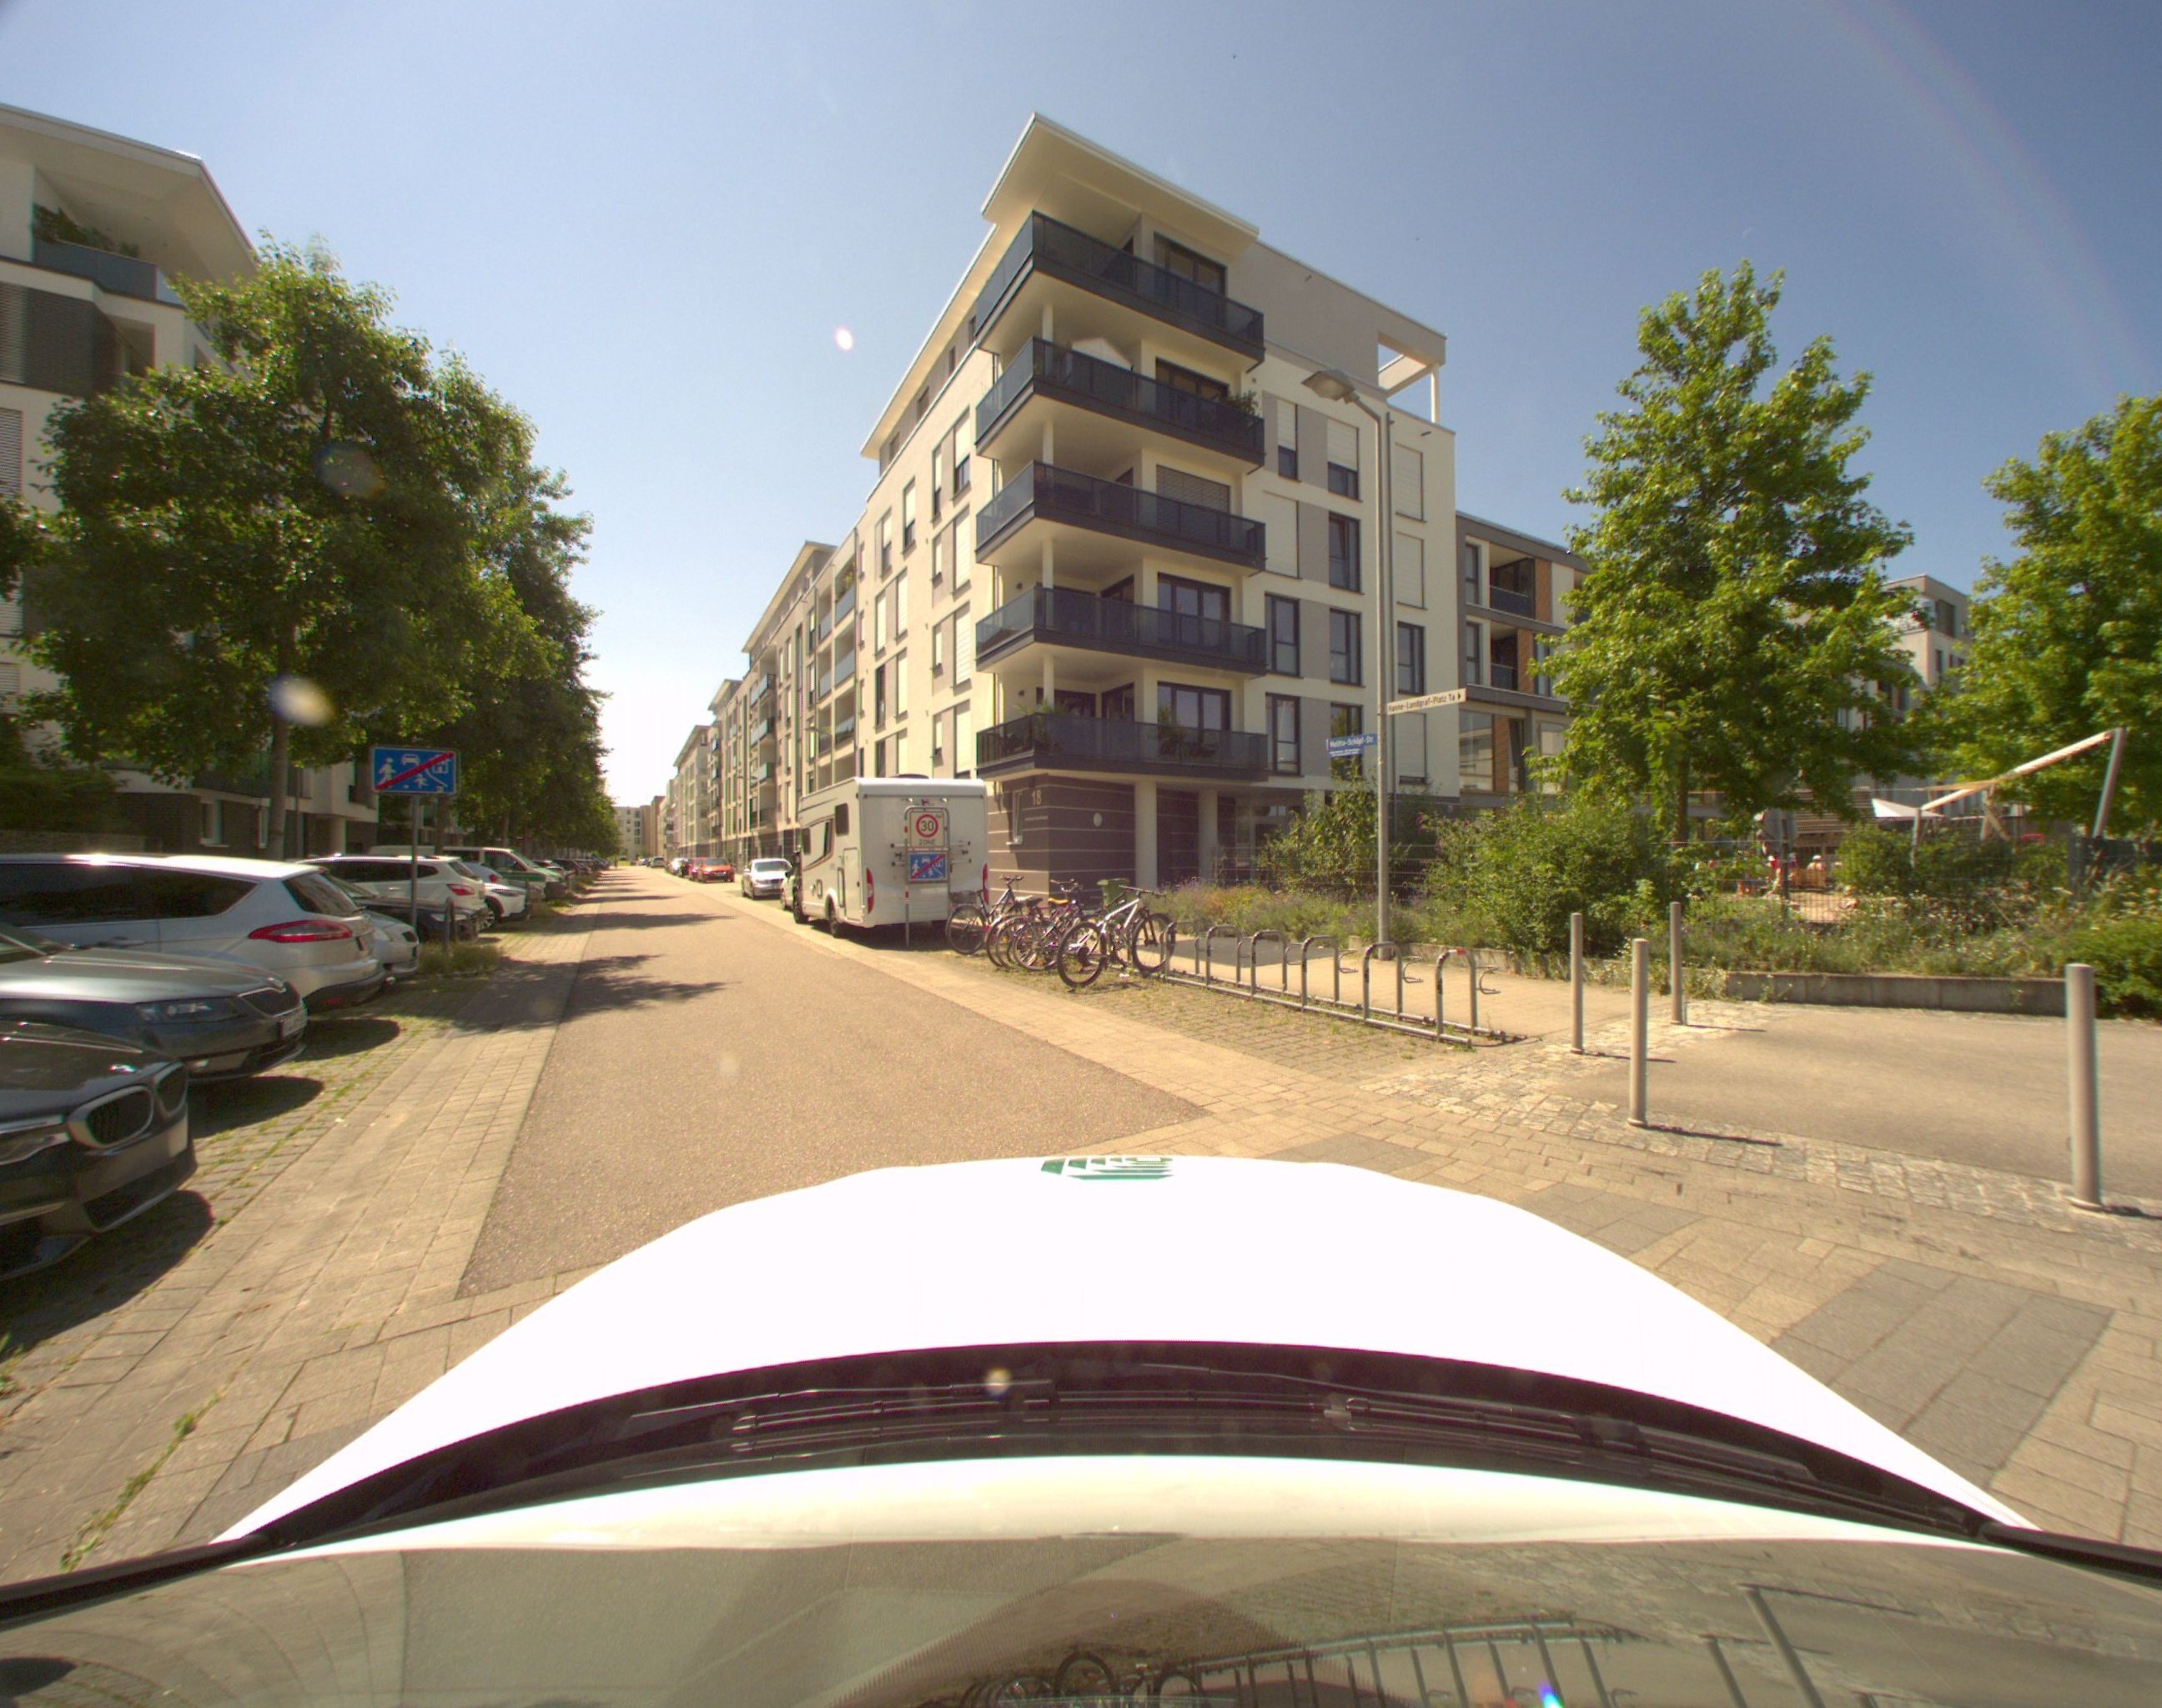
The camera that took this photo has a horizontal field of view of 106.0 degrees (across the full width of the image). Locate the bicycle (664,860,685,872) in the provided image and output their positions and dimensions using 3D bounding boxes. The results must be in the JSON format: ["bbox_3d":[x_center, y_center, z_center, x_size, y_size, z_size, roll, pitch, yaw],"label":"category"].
[{"bbox_3d":[-41.845,1.275,83.857,0.455,1.148,1.851,-2,1,41],"label":"bicycle"}]

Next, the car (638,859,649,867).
[{"bbox_3d":[-95.736,1.940,178.287,2.007,1.675,3.961,-1,0,-31],"label":"car"}]

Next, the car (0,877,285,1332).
[{"bbox_3d":[-6.024,0.866,2.270,5.133,1.485,1.908,0,-1,-32],"label":"car"}]

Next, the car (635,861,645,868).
[{"bbox_3d":[-109.152,2.552,201.675,2.006,1.717,3.961,-1,0,-31],"label":"car"}]

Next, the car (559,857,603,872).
[{"bbox_3d":[-70.182,1.455,114.505,5.177,2.119,2.289,0,0,-30],"label":"car"}]

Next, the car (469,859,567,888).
[{"bbox_3d":[-30.851,1.064,44.793,4.279,1.518,1.906,1,-1,-30],"label":"car"}]

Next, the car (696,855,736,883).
[{"bbox_3d":[-21.661,0.871,48.228,1.748,1.487,4.218,-3,1,-29],"label":"car"}]

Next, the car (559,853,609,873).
[{"bbox_3d":[-72.726,1.286,119.250,6.062,2.816,2.580,-2,0,-30],"label":"car"}]

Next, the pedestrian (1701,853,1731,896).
[{"bbox_3d":[14.778,0.464,18.946,0.410,0.986,0.370,1,-1,-3],"label":"pedestrian"}]

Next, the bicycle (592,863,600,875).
[{"bbox_3d":[-50.591,1.551,84.879,0.374,1.180,1.799,-2,0,-42],"label":"bicycle"}]

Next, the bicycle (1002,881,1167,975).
[{"bbox_3d":[0.023,0.889,10.246,1.858,0.975,0.939,-2,0,-17],"label":"bicycle"}]

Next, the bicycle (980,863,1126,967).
[{"bbox_3d":[-0.345,0.758,10.760,1.861,1.222,0.550,-2,0,-29],"label":"bicycle"}]

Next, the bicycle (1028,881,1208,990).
[{"bbox_3d":[0.470,0.873,9.409,2.044,1.003,0.865,-2,1,-42],"label":"bicycle"}]

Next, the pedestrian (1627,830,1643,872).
[{"bbox_3d":[21.990,-0.118,32.321,0.465,1.690,0.392,0,0,-38],"label":"pedestrian"}]

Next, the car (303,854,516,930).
[{"bbox_3d":[-16.010,0.852,19.693,3.703,1.676,1.834,1,-1,-31],"label":"car"}]

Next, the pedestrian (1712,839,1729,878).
[{"bbox_3d":[25.057,0.165,31.904,0.457,1.508,0.399,0,0,24],"label":"pedestrian"}]

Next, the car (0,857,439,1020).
[{"bbox_3d":[-9.889,0.814,8.935,4.280,1.531,1.804,1,-1,-33],"label":"car"}]

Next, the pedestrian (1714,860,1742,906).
[{"bbox_3d":[14.597,0.647,18.369,0.409,1.025,0.282,1,-1,2],"label":"pedestrian"}]

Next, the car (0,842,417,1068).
[{"bbox_3d":[-8.716,0.728,6.502,5.063,1.632,2.021,0,0,-32],"label":"car"}]

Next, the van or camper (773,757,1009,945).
[{"bbox_3d":[-4.253,0.017,16.570,2.454,2.906,7.749,0,-1,-31],"label":"van or camper"}]

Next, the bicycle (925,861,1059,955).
[{"bbox_3d":[-1.332,0.772,12.524,0.816,1.222,1.934,0,2,44],"label":"bicycle"}]

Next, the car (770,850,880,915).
[{"bbox_3d":[-7.044,0.707,22.146,1.819,1.504,4.218,-3,1,-32],"label":"car"}]

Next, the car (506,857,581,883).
[{"bbox_3d":[-35.279,1.056,53.580,4.012,1.629,1.915,1,-1,-30],"label":"car"}]

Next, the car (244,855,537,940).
[{"bbox_3d":[-14.504,0.866,17.546,4.591,1.594,1.945,1,-1,-35],"label":"car"}]

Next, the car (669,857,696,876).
[{"bbox_3d":[-34.822,1.096,71.157,1.845,1.504,4.309,-3,1,-30],"label":"car"}]

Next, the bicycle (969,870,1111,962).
[{"bbox_3d":[-0.533,0.810,11.082,1.894,1.110,0.471,-1,0,-29],"label":"bicycle"}]

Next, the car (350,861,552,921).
[{"bbox_3d":[-18.167,1.001,23.819,4.450,1.489,1.980,-1,0,-32],"label":"car"}]

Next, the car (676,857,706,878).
[{"bbox_3d":[-29.355,1.019,61.289,1.653,1.462,4.078,-3,1,-30],"label":"car"}]

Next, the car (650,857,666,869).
[{"bbox_3d":[-61.984,1.340,119.249,2.009,1.657,4.076,-2,0,-29],"label":"car"}]

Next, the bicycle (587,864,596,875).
[{"bbox_3d":[-50.891,1.588,84.673,0.437,1.128,1.955,-2,0,-42],"label":"bicycle"}]

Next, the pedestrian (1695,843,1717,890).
[{"bbox_3d":[14.171,0.288,18.461,0.287,1.053,0.290,0,0,12],"label":"pedestrian"}]

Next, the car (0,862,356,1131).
[{"bbox_3d":[-7.436,0.749,4.479,4.850,1.449,1.809,2,-2,-32],"label":"car"}]

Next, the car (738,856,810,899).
[{"bbox_3d":[-11.359,0.814,29.963,1.857,1.416,4.384,-1,0,-29],"label":"car"}]

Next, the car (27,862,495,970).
[{"bbox_3d":[-12.434,0.874,12.932,4.880,1.457,1.812,1,-1,-30],"label":"car"}]

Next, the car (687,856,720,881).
[{"bbox_3d":[-24.546,0.937,52.893,1.605,1.485,3.641,-3,1,-29],"label":"car"}]

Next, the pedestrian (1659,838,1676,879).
[{"bbox_3d":[21.647,0.169,30.073,0.392,1.508,0.465,0,0,19],"label":"pedestrian"}]

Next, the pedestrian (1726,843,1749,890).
[{"bbox_3d":[14.853,0.287,18.432,0.290,1.053,0.285,0,0,-12],"label":"pedestrian"}]

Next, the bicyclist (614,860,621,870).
[{"bbox_3d":[-72.800,1.752,127.924,0.960,1.459,0.792,-1,0,-30],"label":"bicyclist"}]

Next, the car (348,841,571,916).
[{"bbox_3d":[-19.685,0.711,26.196,5.373,2.110,2.167,-1,0,-28],"label":"car"}]

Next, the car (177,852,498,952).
[{"bbox_3d":[-13.460,0.813,15.138,4.003,1.629,1.932,1,-1,-28],"label":"car"}]
